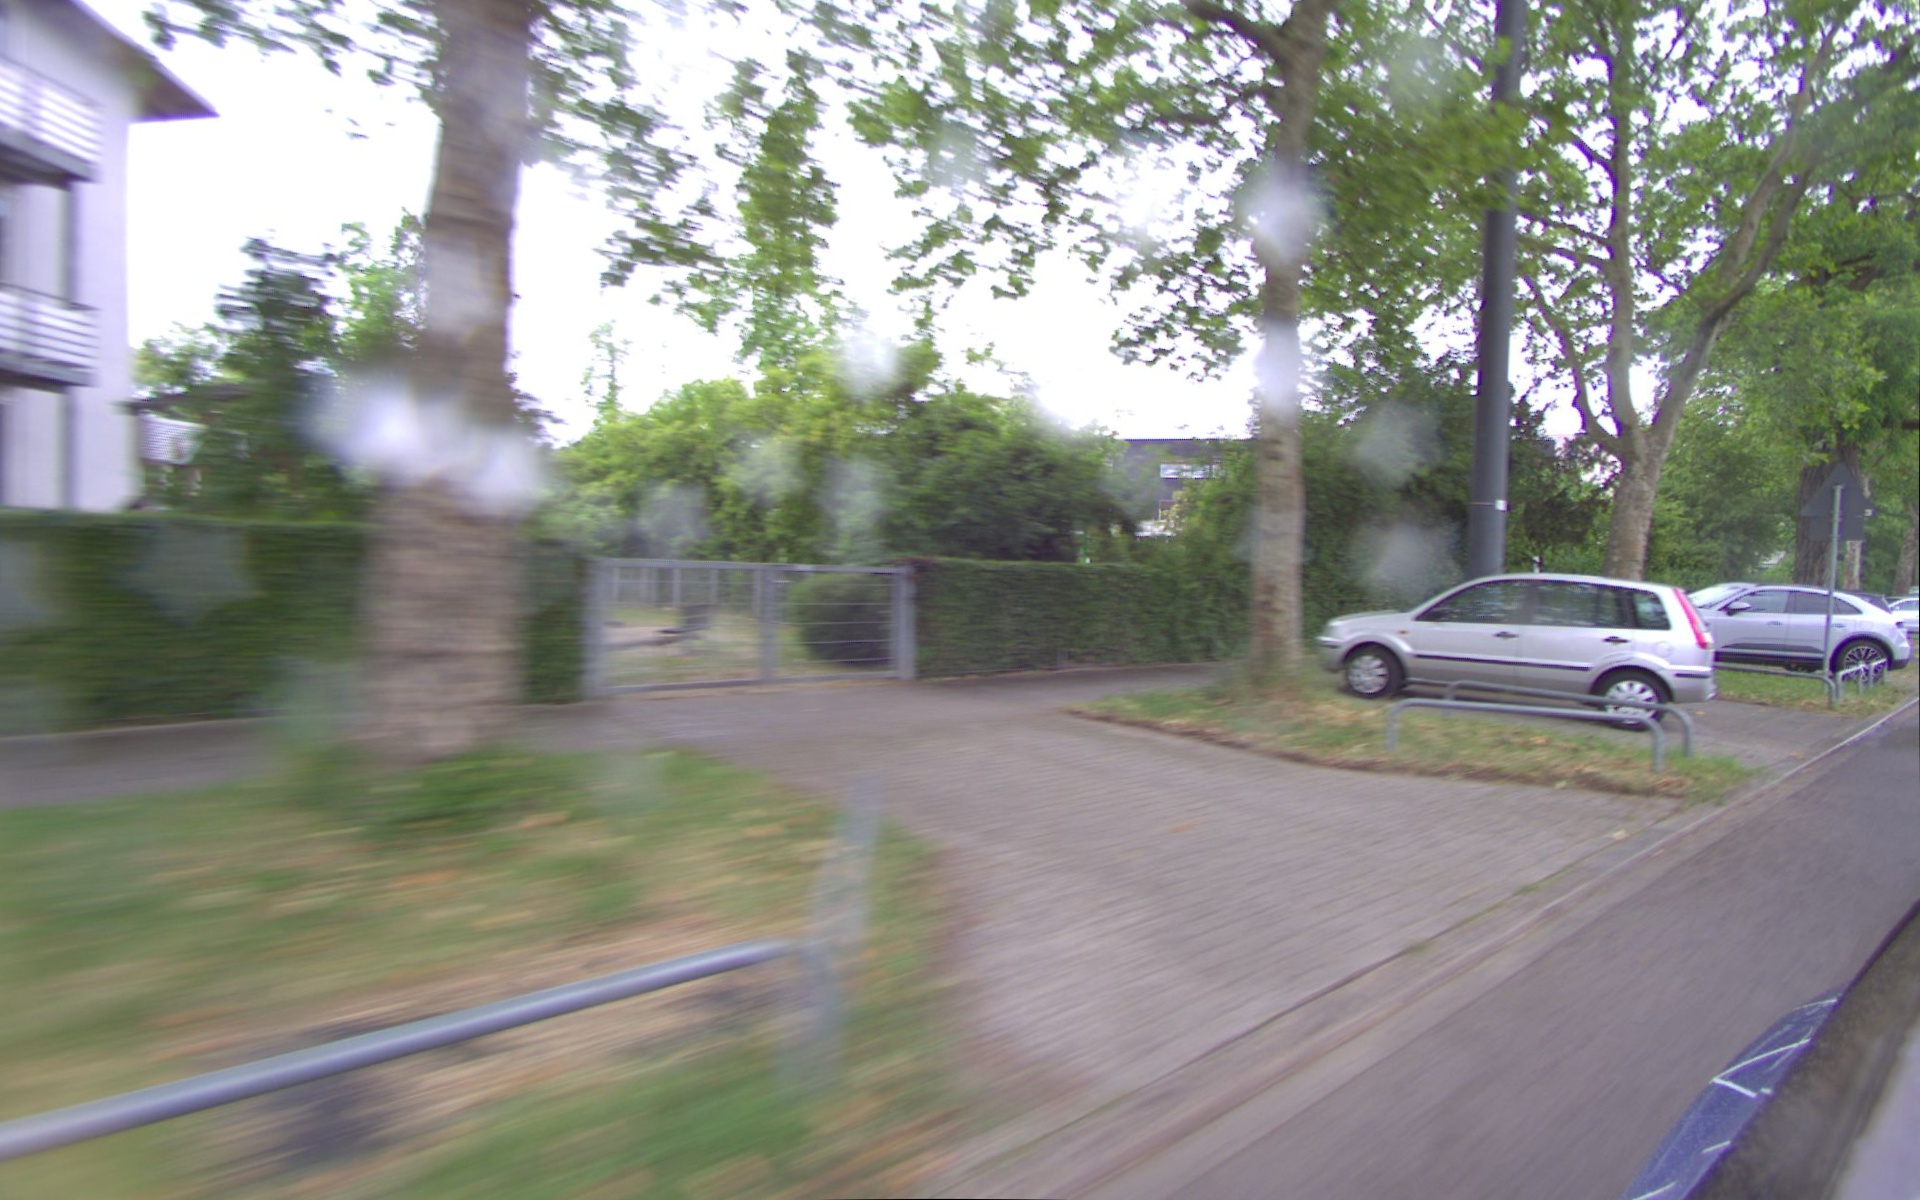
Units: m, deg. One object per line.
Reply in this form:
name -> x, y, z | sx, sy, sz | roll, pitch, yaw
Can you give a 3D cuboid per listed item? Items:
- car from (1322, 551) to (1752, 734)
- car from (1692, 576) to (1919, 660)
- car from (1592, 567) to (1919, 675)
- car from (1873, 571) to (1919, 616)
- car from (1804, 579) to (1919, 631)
car -> 6.245, 0.344, 11.319 | 3.838, 1.585, 1.601 | 4, 3, 31
car -> 18.748, 0.351, 22.447 | 3.663, 1.585, 1.611 | 3, 2, 17
car -> 14.559, 0.319, 18.404 | 4.703, 1.688, 1.988 | 2, 2, 13
car -> 46.720, -0.202, 47.711 | 4.956, 2.038, 1.992 | 4, 2, 14
car -> 32.557, 0.236, 35.120 | 4.500, 1.563, 1.878 | 5, 3, 17
